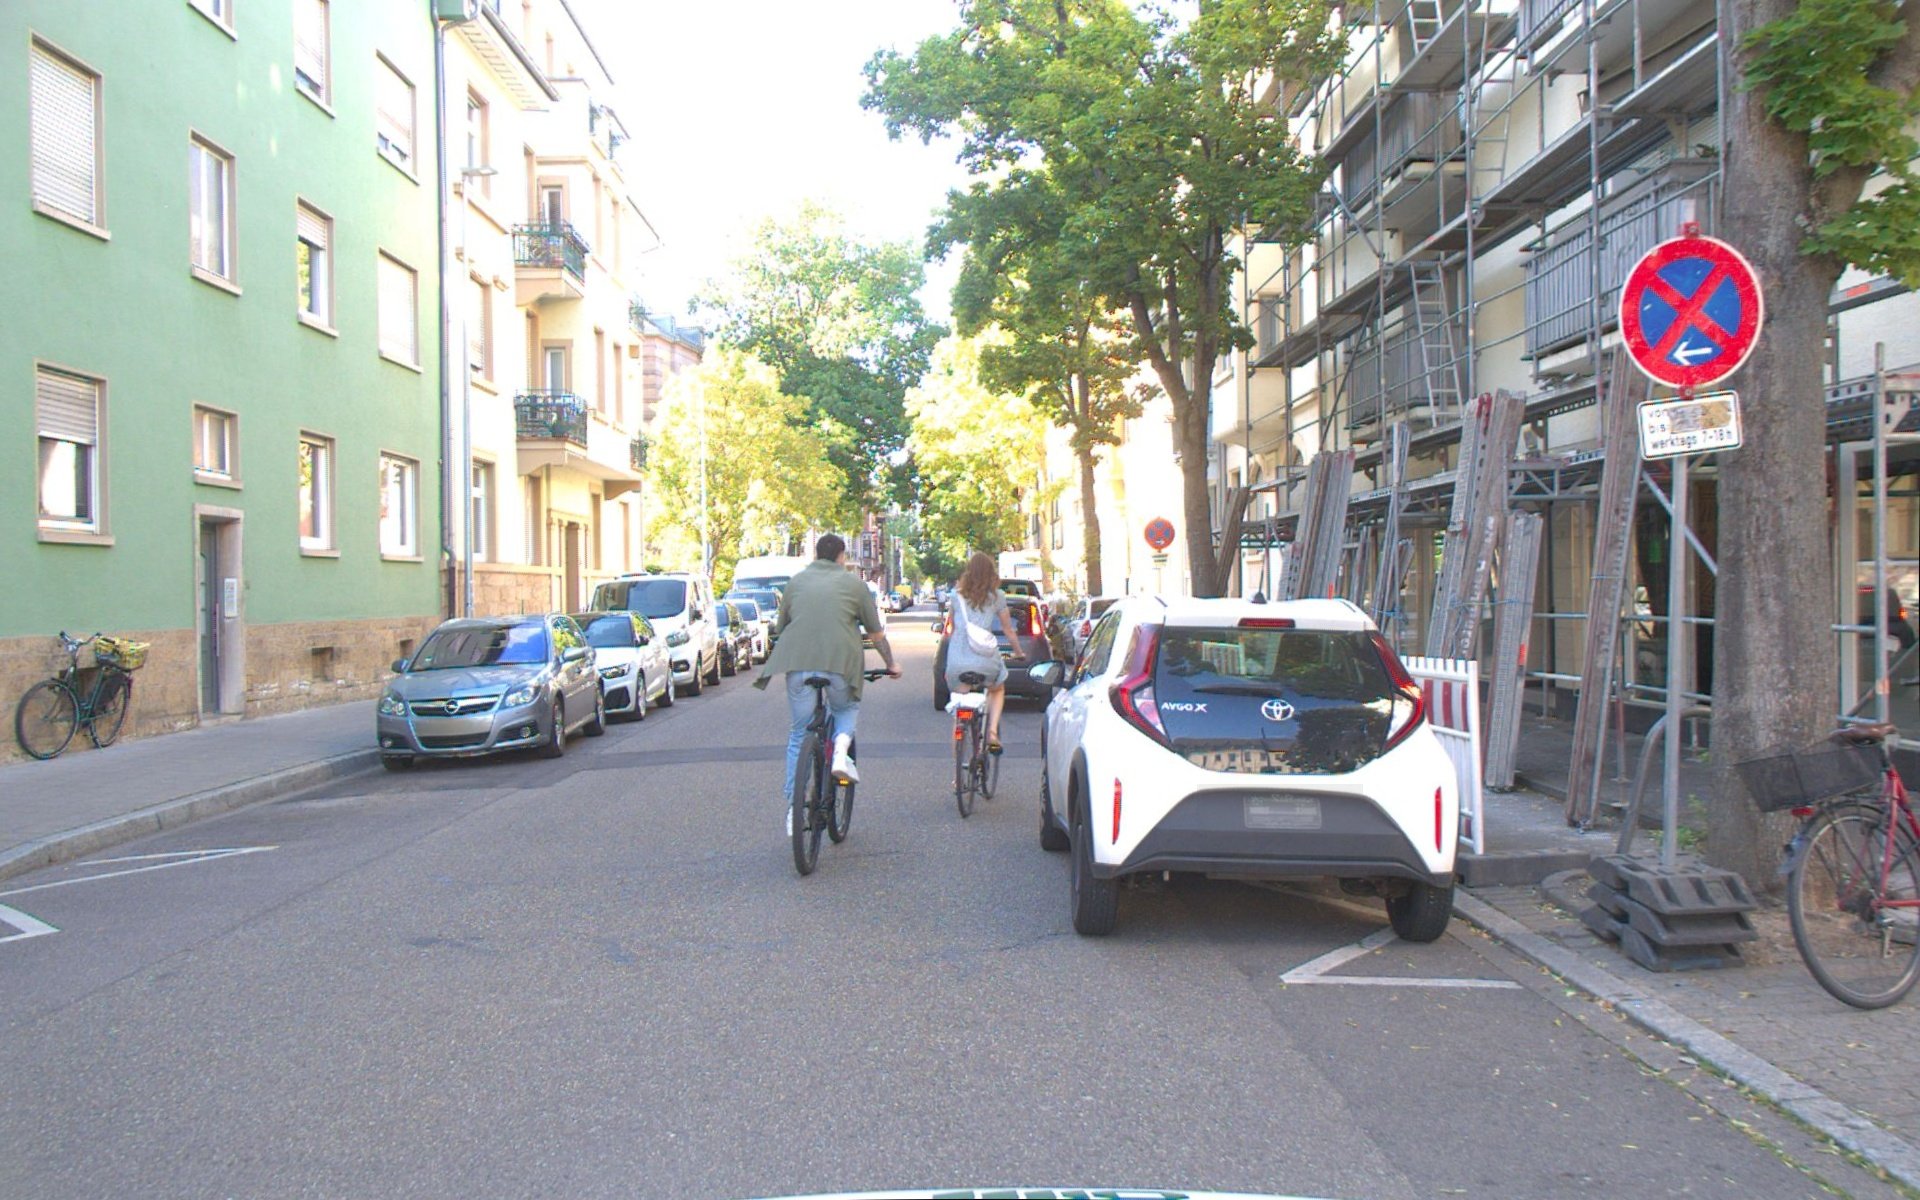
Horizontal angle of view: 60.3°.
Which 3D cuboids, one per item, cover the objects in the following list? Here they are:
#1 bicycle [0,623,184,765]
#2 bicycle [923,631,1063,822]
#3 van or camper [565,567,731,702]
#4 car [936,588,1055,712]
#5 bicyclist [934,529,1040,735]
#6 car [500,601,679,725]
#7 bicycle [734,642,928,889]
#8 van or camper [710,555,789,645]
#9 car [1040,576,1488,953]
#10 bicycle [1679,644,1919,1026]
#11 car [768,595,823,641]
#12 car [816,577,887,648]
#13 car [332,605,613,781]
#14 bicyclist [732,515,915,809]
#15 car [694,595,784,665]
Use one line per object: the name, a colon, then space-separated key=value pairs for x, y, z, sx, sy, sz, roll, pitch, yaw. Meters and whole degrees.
bicycle: x=-8.278 y=0.855 z=15.892 sx=0.539 sy=1.199 sz=2.278 roll=2 pitch=0 yaw=0
bicycle: x=0.287 y=0.854 z=12.016 sx=0.821 sy=1.169 sz=2.234 roll=0 pitch=1 yaw=6
van or camper: x=-5.220 y=0.523 z=28.357 sx=1.953 sy=2.049 sz=4.910 roll=-2 pitch=0 yaw=-1
car: x=0.467 y=0.630 z=22.865 sx=1.524 sy=1.559 sz=3.487 roll=0 pitch=1 yaw=0
bicyclist: x=0.201 y=0.248 z=11.840 sx=0.610 sy=1.405 sz=0.868 roll=-2 pitch=-4 yaw=8
car: x=-4.979 y=0.793 z=22.666 sx=1.652 sy=1.479 sz=3.709 roll=-2 pitch=0 yaw=-1
bicycle: x=-0.685 y=0.879 z=9.588 sx=0.821 sy=1.169 sz=2.234 roll=0 pitch=1 yaw=3
van or camper: x=-6.439 y=-0.014 z=51.094 sx=1.953 sy=2.597 sz=5.021 roll=-1 pitch=0 yaw=-2
car: x=1.358 y=0.685 z=8.625 sx=1.641 sy=1.572 sz=3.402 roll=0 pitch=0 yaw=-1
bicycle: x=3.787 y=0.783 z=6.251 sx=1.950 sy=1.185 sz=0.722 roll=-4 pitch=1 yaw=-19
car: x=-6.008 y=0.627 z=60.850 sx=1.676 sy=1.587 sz=3.999 roll=-1 pitch=0 yaw=-1
car: x=-3.057 y=0.335 z=47.255 sx=1.745 sy=1.893 sz=4.199 roll=-1 pitch=0 yaw=0
car: x=-4.998 y=0.873 z=17.563 sx=1.940 sy=1.480 sz=4.110 roll=-4 pitch=0 yaw=-4
bicyclist: x=-0.765 y=0.361 z=9.493 sx=0.863 sy=1.589 sz=0.868 roll=-2 pitch=-3 yaw=6
car: x=-5.213 y=0.669 z=39.460 sx=1.676 sy=1.531 sz=3.999 roll=-1 pitch=0 yaw=-1
